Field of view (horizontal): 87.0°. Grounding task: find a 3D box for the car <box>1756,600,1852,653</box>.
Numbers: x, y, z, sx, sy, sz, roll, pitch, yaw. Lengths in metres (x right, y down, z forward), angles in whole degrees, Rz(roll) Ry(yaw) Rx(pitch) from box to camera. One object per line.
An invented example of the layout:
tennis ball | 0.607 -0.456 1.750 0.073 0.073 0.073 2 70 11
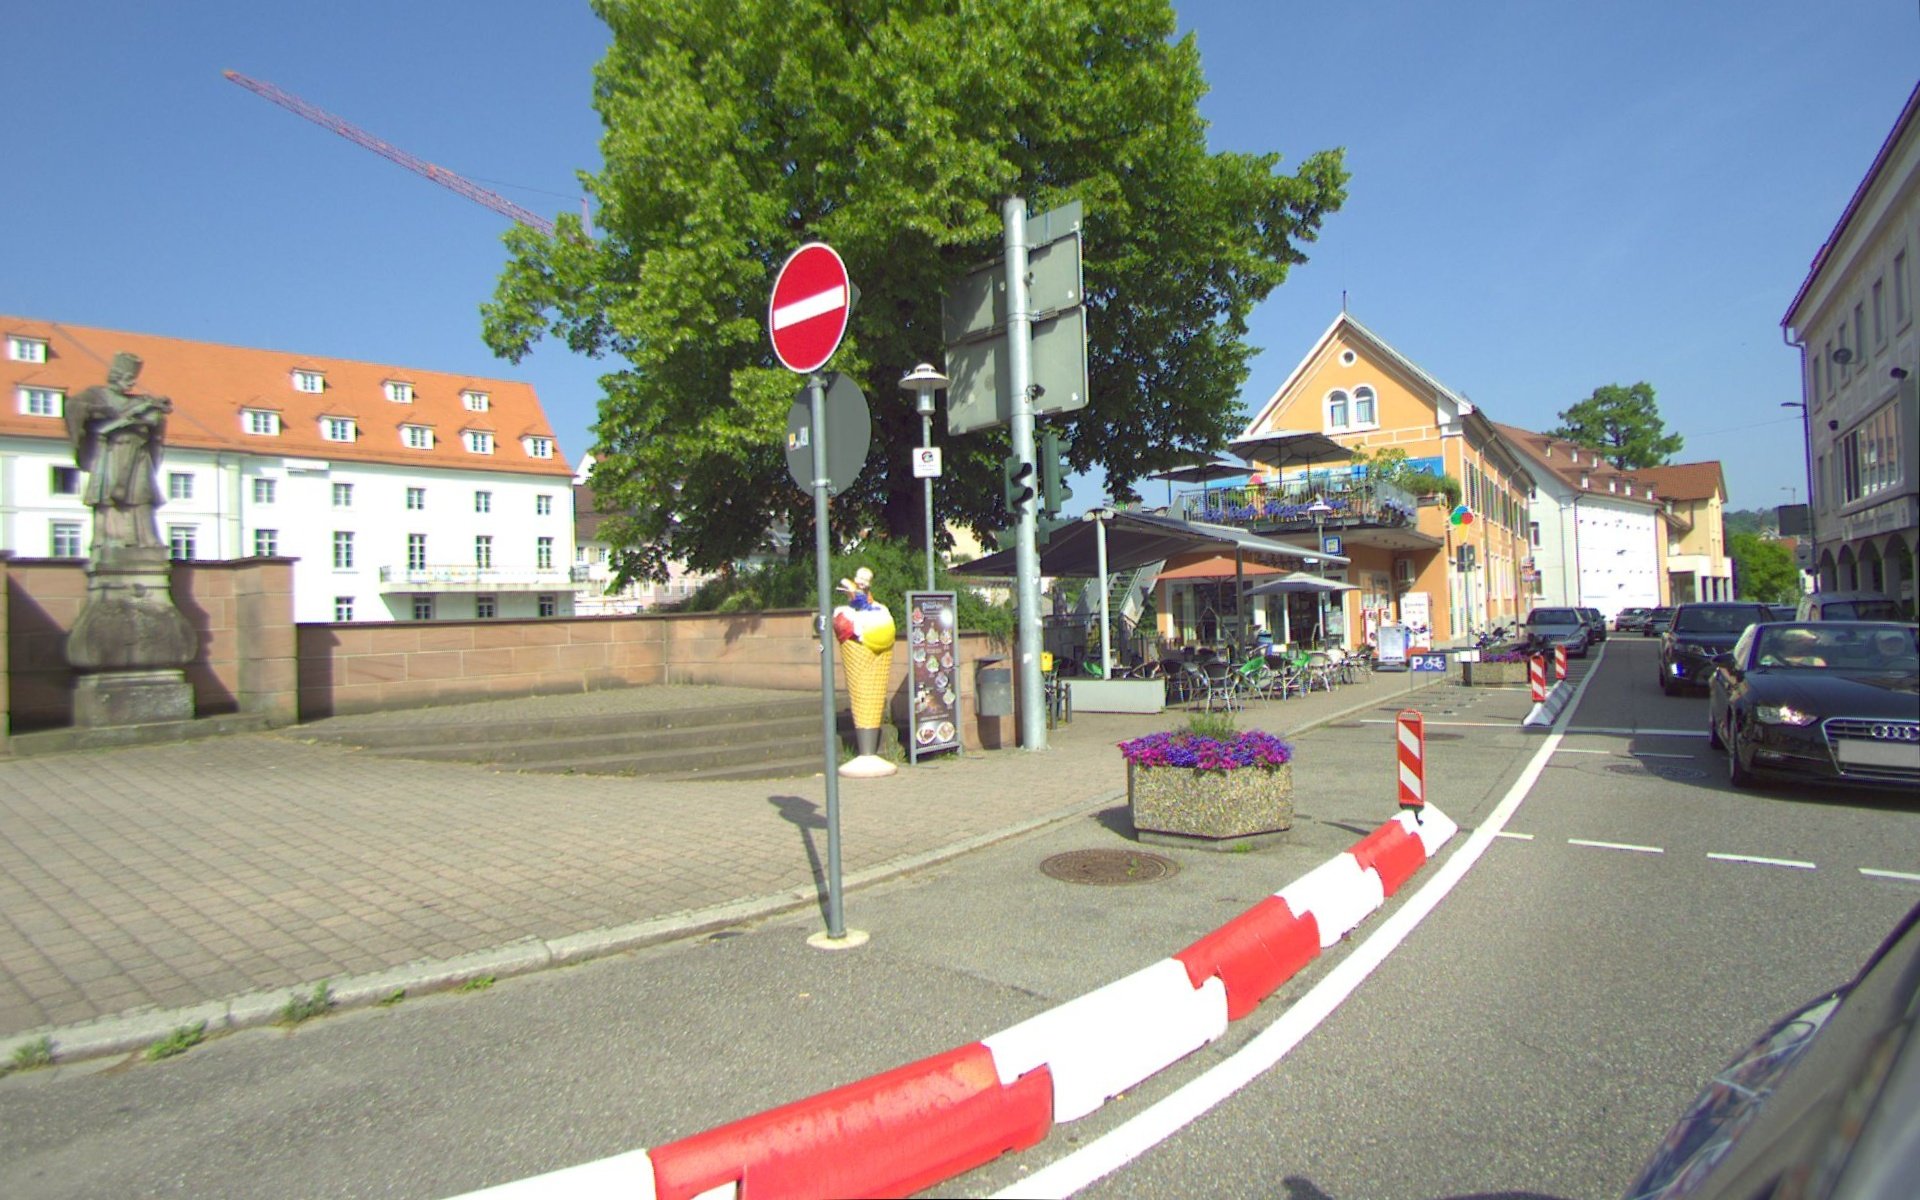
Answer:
car | 26.080 0.798 31.420 1.796 1.489 4.399 -3 -2 34

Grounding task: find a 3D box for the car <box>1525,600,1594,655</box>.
car | 19.385 0.855 32.640 1.737 1.618 4.540 -3 -2 32

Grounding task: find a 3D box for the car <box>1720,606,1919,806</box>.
car | 7.753 0.742 8.732 1.745 1.374 4.146 -1 -1 35

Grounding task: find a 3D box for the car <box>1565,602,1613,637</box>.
car | 29.803 0.895 47.895 1.673 1.559 4.133 -1 -1 35

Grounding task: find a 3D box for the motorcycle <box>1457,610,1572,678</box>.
motorcycle | 11.721 0.914 21.441 1.864 1.375 0.917 -1 -1 0

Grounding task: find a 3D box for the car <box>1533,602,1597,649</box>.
car | 22.128 0.903 36.945 1.673 1.579 4.051 -3 -2 35

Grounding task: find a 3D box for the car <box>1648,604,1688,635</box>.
car | 37.800 1.037 54.051 1.673 1.581 3.299 -2 -2 35

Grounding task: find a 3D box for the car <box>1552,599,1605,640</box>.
car | 26.397 0.819 43.148 1.673 1.666 4.197 -1 -1 35

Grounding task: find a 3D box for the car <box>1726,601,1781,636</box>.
car | 37.097 0.860 47.415 1.759 1.581 3.920 -2 -2 35

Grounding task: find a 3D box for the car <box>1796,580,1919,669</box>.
car | 19.998 0.524 22.386 1.699 1.762 4.097 -4 -3 32

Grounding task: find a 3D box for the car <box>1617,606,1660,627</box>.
car | 43.058 1.029 64.174 1.523 1.260 3.969 -2 -2 45

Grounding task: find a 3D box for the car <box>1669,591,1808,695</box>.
car | 13.311 0.678 17.488 1.673 1.581 3.920 -2 -2 35

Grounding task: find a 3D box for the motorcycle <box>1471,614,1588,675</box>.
motorcycle | 12.629 0.971 22.475 2.049 1.286 0.930 -1 -1 -5
